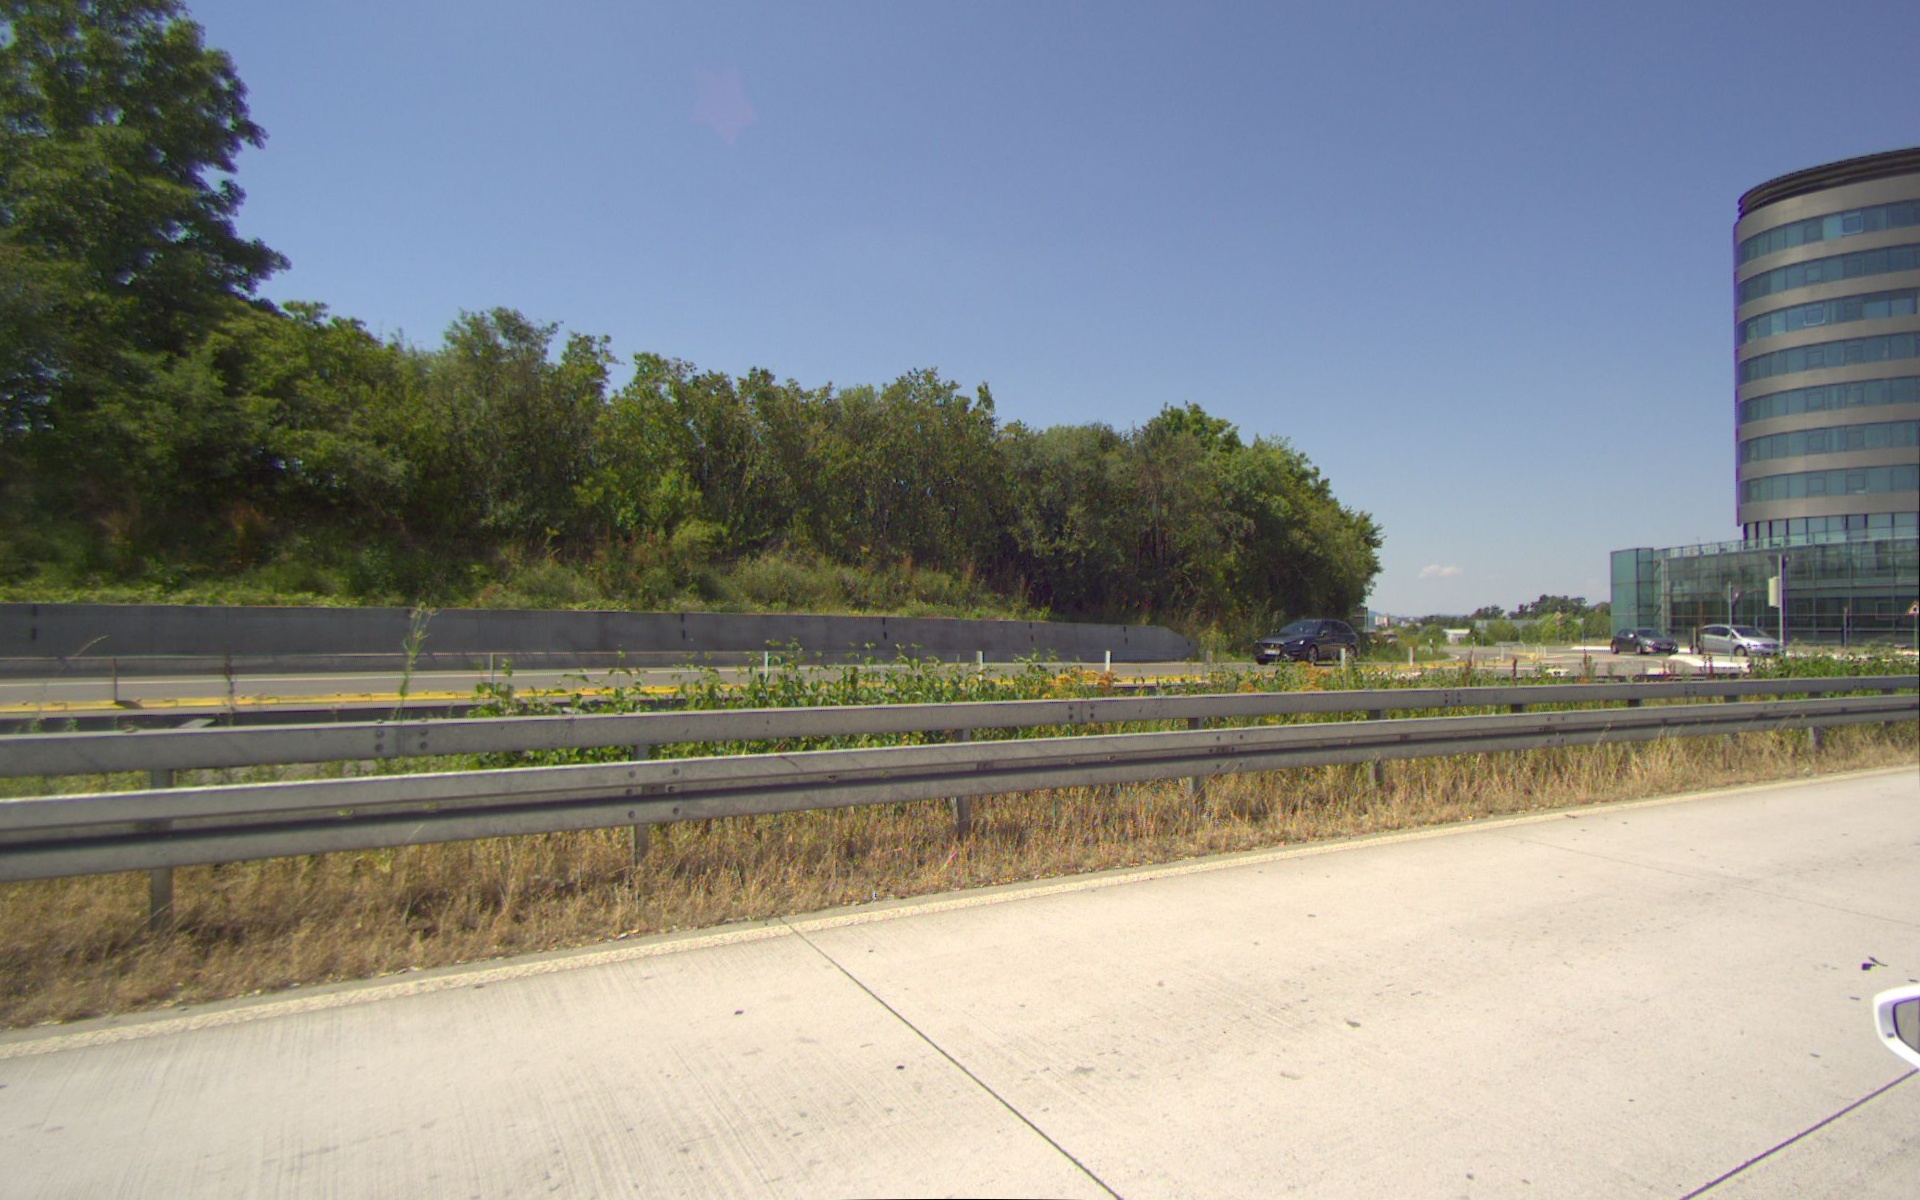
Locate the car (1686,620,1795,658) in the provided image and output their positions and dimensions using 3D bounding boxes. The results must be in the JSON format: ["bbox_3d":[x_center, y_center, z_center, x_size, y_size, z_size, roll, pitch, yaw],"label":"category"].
[{"bbox_3d":[36.127,1.830,46.647,1.741,1.616,4.331,2,-2,1],"label":"car"}]

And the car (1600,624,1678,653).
[{"bbox_3d":[36.781,2.106,54.518,1.663,1.475,4.333,2,-2,6],"label":"car"}]

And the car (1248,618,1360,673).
[{"bbox_3d":[10.686,1.373,31.019,1.693,1.504,4.270,2,0,43],"label":"car"}]
